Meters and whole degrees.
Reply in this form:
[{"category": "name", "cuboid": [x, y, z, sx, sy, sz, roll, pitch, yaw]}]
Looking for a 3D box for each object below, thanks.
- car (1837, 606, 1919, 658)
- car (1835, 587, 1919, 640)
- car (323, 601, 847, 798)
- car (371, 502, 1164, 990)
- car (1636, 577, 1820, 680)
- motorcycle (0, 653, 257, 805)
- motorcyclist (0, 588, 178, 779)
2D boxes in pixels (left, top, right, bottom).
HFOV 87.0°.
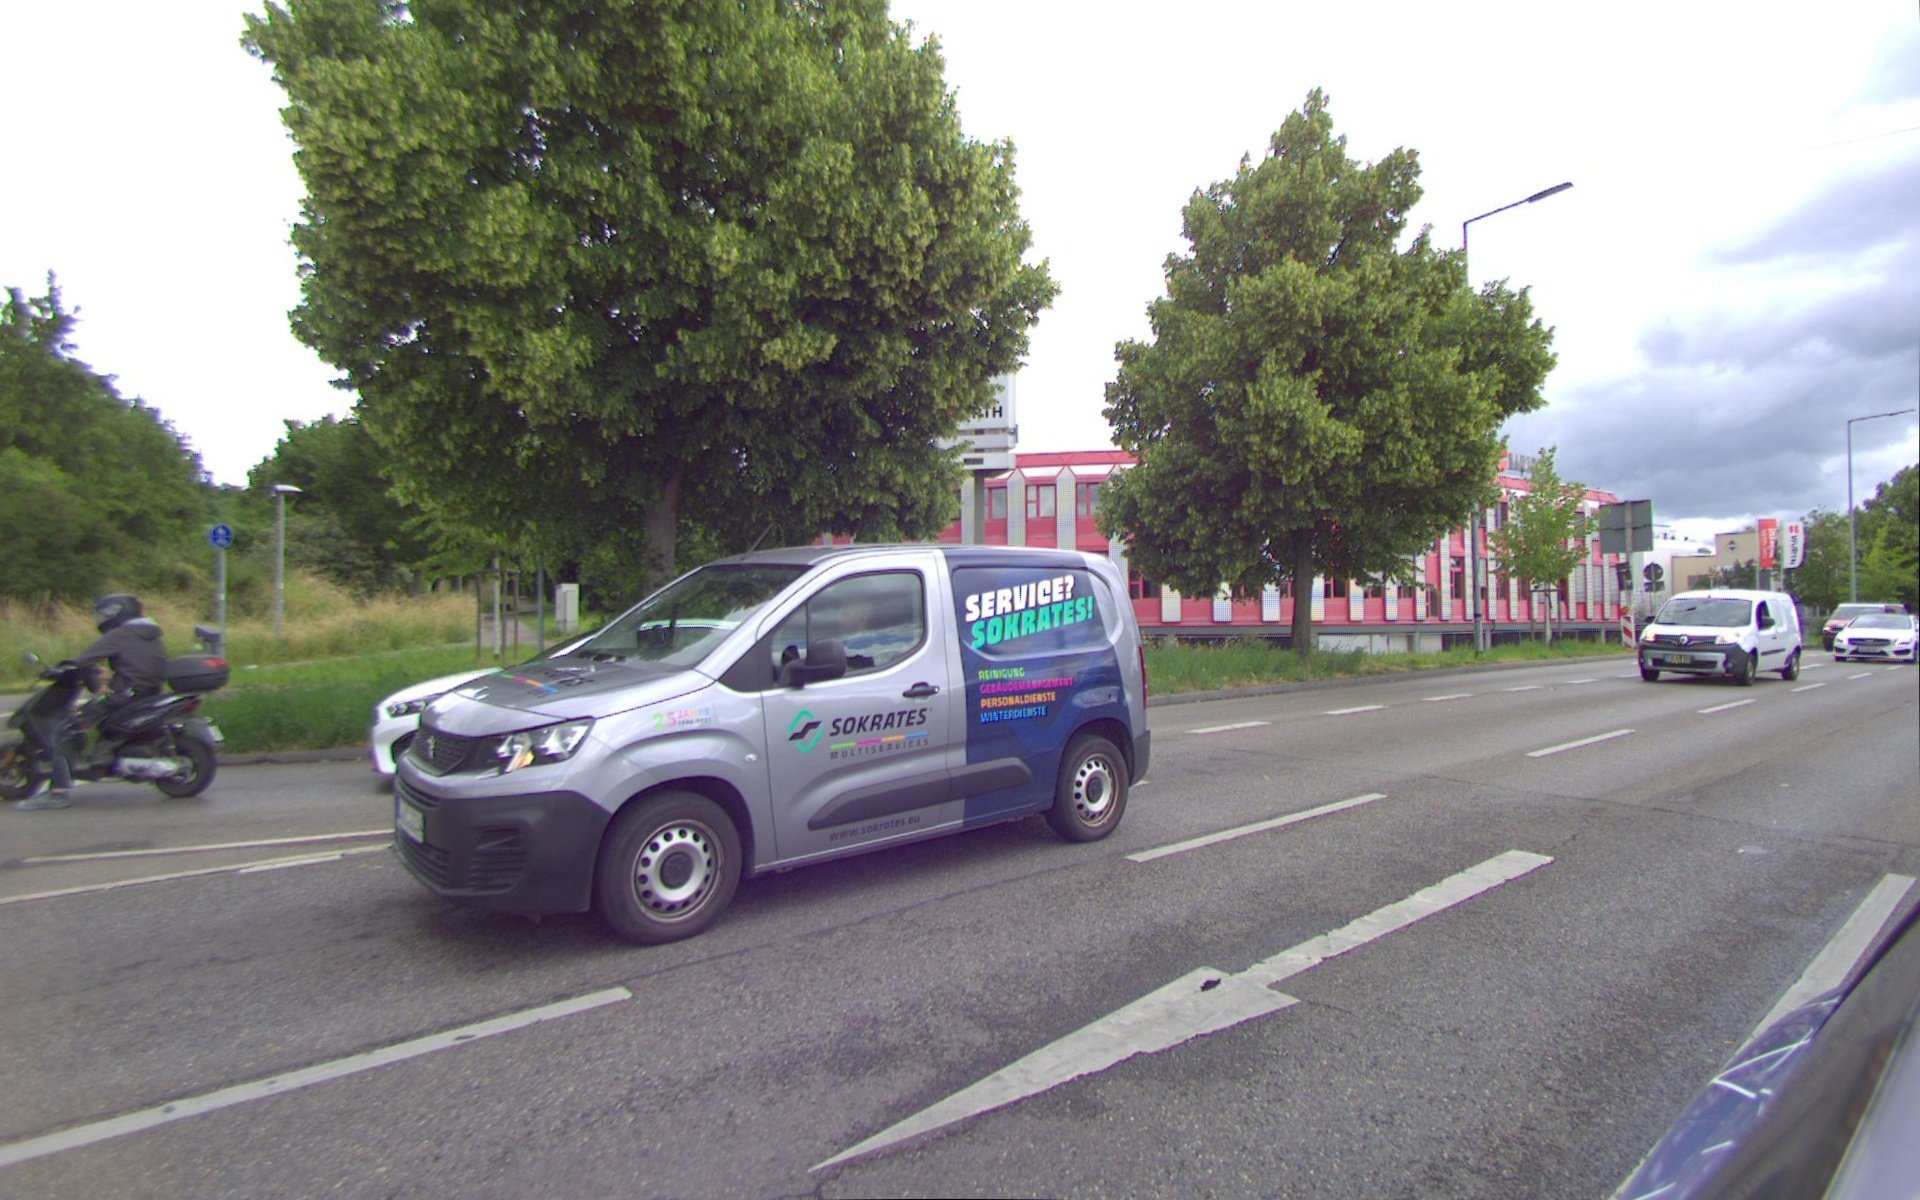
[{"category": "car", "cuboid": [27.440, 0.976, 29.556, 4.141, 1.358, 1.815, 4, -2, -35]}, {"category": "car", "cuboid": [37.704, 0.571, 41.584, 4.376, 1.930, 2.181, 4, -2, -42]}, {"category": "car", "cuboid": [-3.493, 0.792, 9.779, 4.428, 1.438, 1.835, -1, -1, -35]}, {"category": "car", "cuboid": [-0.833, 0.515, 5.804, 4.149, 1.802, 1.812, 0, 1, -42]}, {"category": "car", "cuboid": [15.236, 0.533, 19.986, 4.610, 1.815, 1.813, 1, -1, -38]}, {"category": "motorcycle", "cuboid": [-6.882, 0.995, 8.032, 2.028, 1.104, 0.760, 0, -1, -5]}, {"category": "motorcyclist", "cuboid": [-6.909, 0.635, 8.043, 0.801, 1.440, 0.760, 0, -1, -5]}]
